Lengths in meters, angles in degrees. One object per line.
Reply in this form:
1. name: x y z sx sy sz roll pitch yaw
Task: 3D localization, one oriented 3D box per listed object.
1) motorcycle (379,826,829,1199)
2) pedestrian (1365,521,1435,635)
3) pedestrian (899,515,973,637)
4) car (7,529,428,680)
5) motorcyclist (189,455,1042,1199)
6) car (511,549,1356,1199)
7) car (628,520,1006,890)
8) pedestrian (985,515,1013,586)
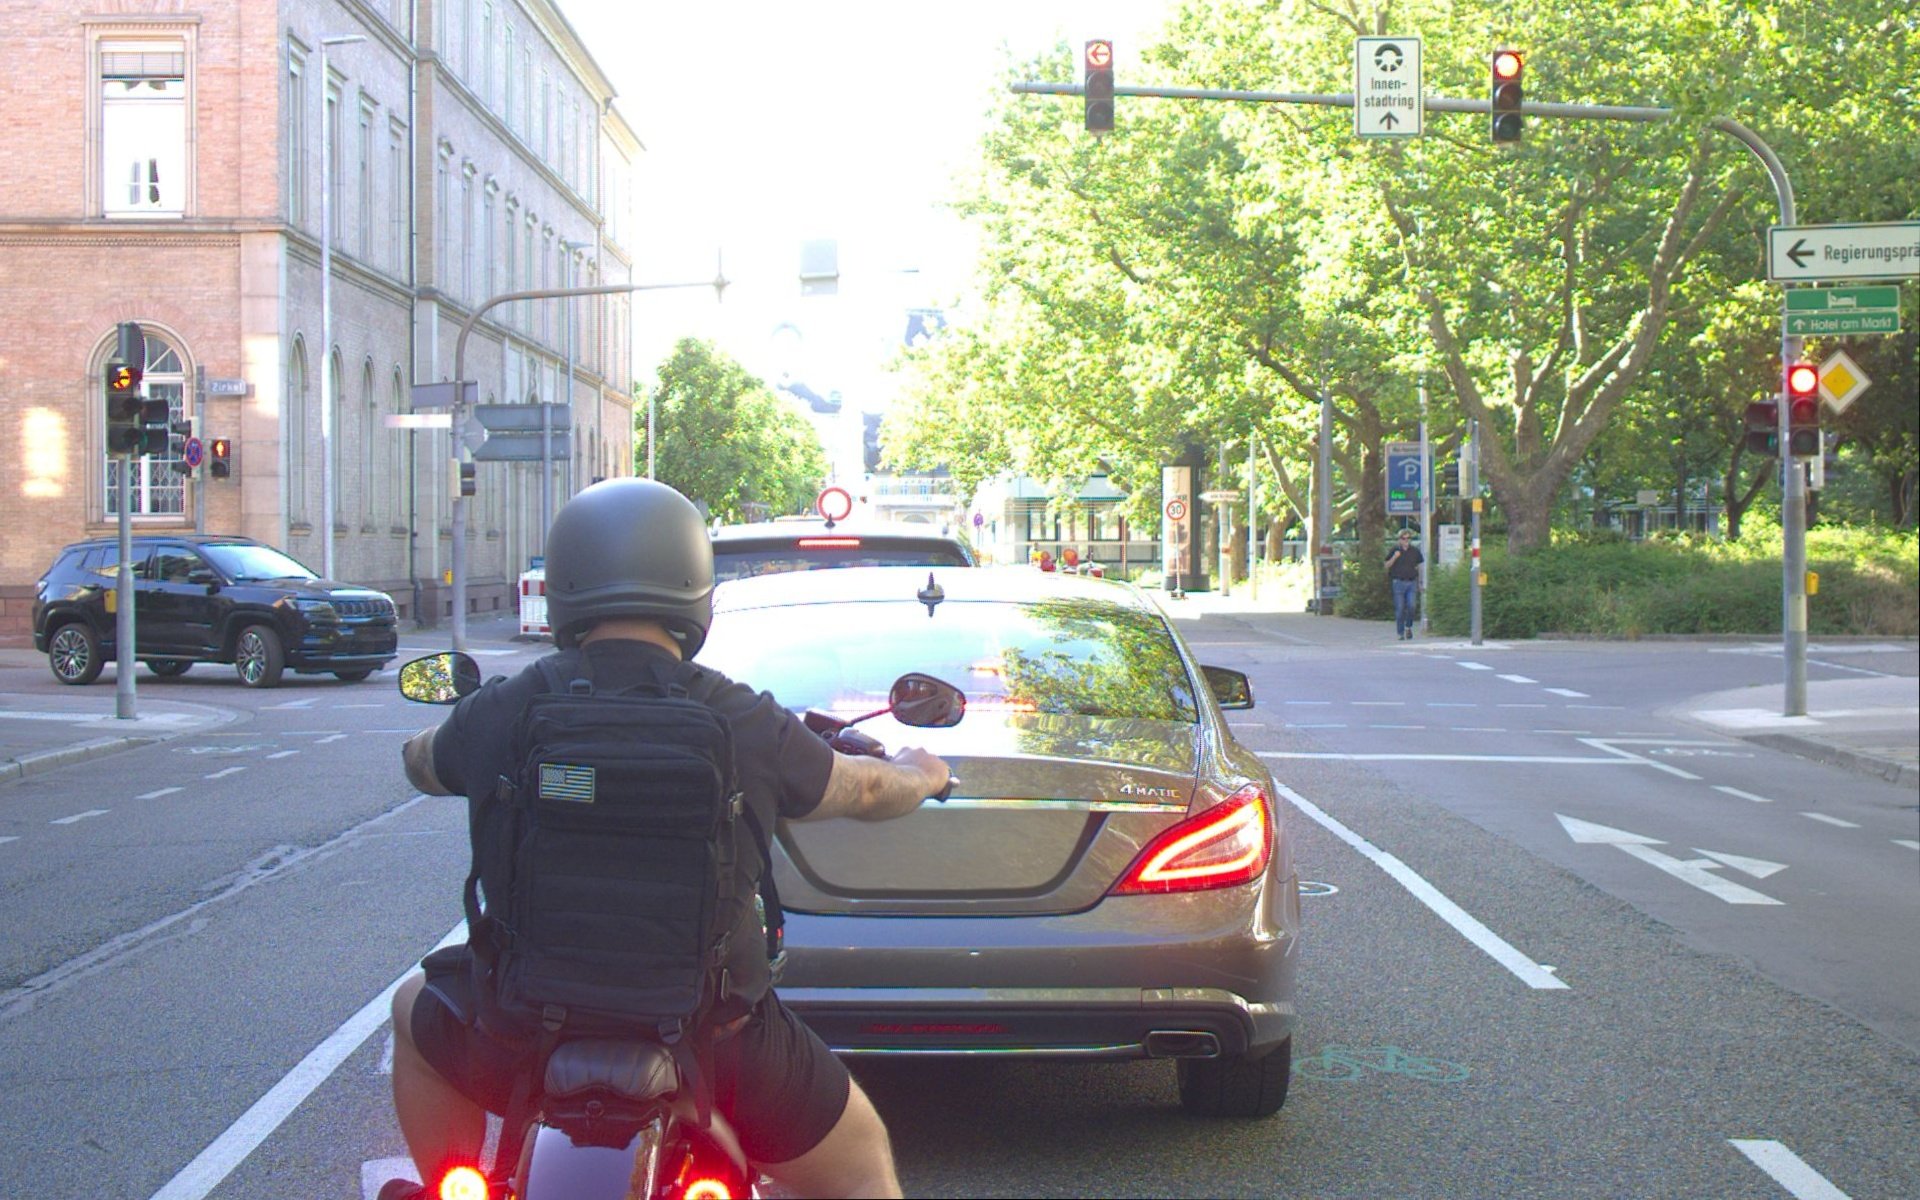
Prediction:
1. motorcycle: -0.494 0.931 5.369 0.513 0.999 2.013 1 1 -1
2. pedestrian: 7.413 -0.368 57.984 0.749 1.903 0.926 1 0 -28
3. pedestrian: -0.358 -0.364 52.427 1.002 1.820 1.076 1 0 6
4. car: -8.274 0.023 38.269 4.377 1.565 1.853 1 1 26
5. motorcyclist: -0.481 0.601 5.334 1.149 1.593 1.288 1 0 -1
6. car: -0.081 0.600 9.643 1.882 1.444 3.820 1 1 -1
7. car: -0.635 0.415 16.759 1.621 1.588 4.000 0 1 -1
8. pedestrian: 1.150 -1.453 100.888 0.764 2.044 0.712 1 0 -1
